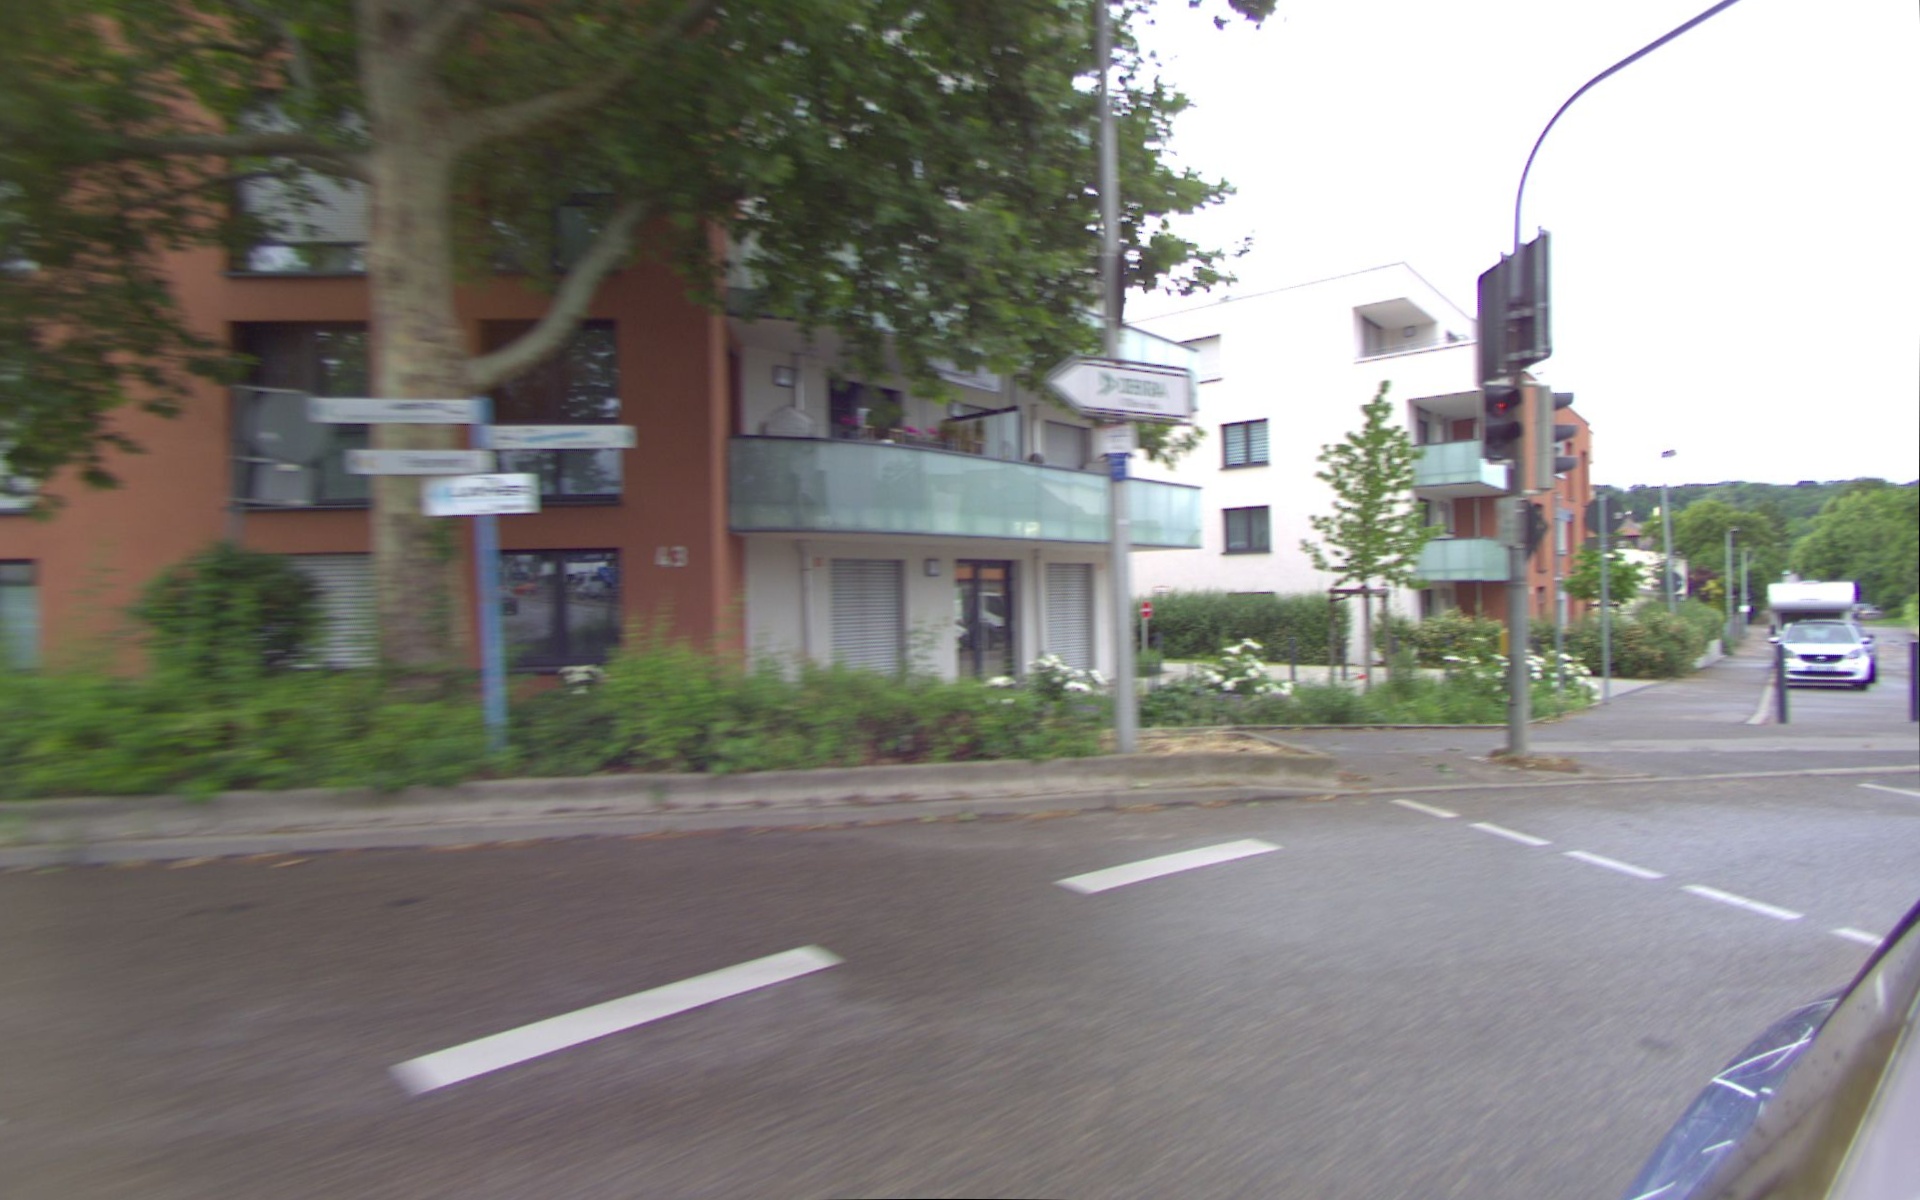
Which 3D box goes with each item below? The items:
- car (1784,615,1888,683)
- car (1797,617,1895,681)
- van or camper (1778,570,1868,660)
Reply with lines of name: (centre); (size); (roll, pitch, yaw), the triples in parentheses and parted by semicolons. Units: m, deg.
car: (20.530, 1.100, 23.803); (1.719, 1.491, 2.704); (-1, -1, 39)
car: (23.725, 1.248, 27.195); (1.844, 1.562, 4.067); (-1, -1, 40)
van or camper: (31.594, 0.550, 37.157); (2.315, 3.033, 5.863); (-1, -1, 40)
